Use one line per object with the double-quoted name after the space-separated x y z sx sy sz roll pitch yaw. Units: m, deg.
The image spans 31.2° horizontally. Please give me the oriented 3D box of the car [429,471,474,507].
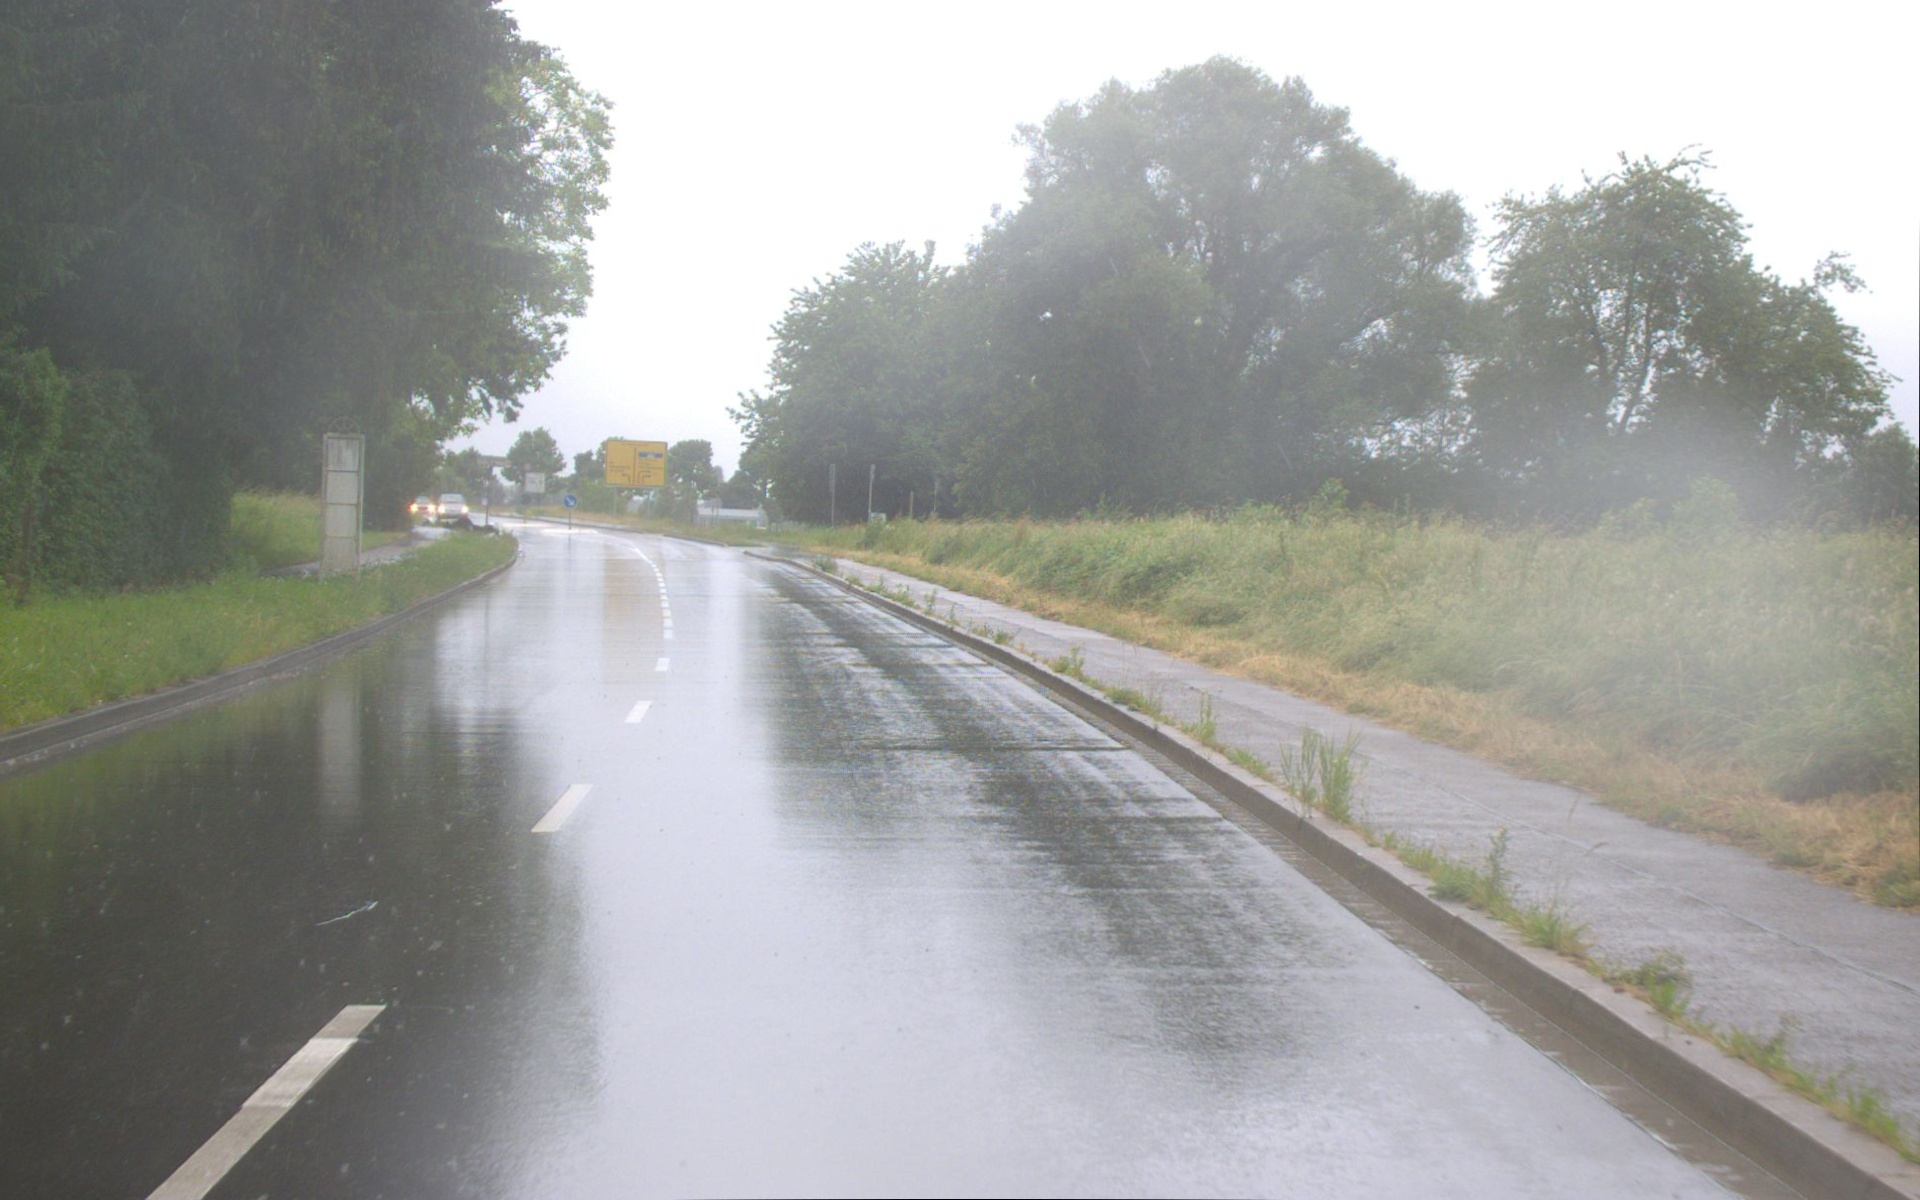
-29.804 -6.510 201.426 1.760 1.546 4.003 -2 9 -21 "car"
